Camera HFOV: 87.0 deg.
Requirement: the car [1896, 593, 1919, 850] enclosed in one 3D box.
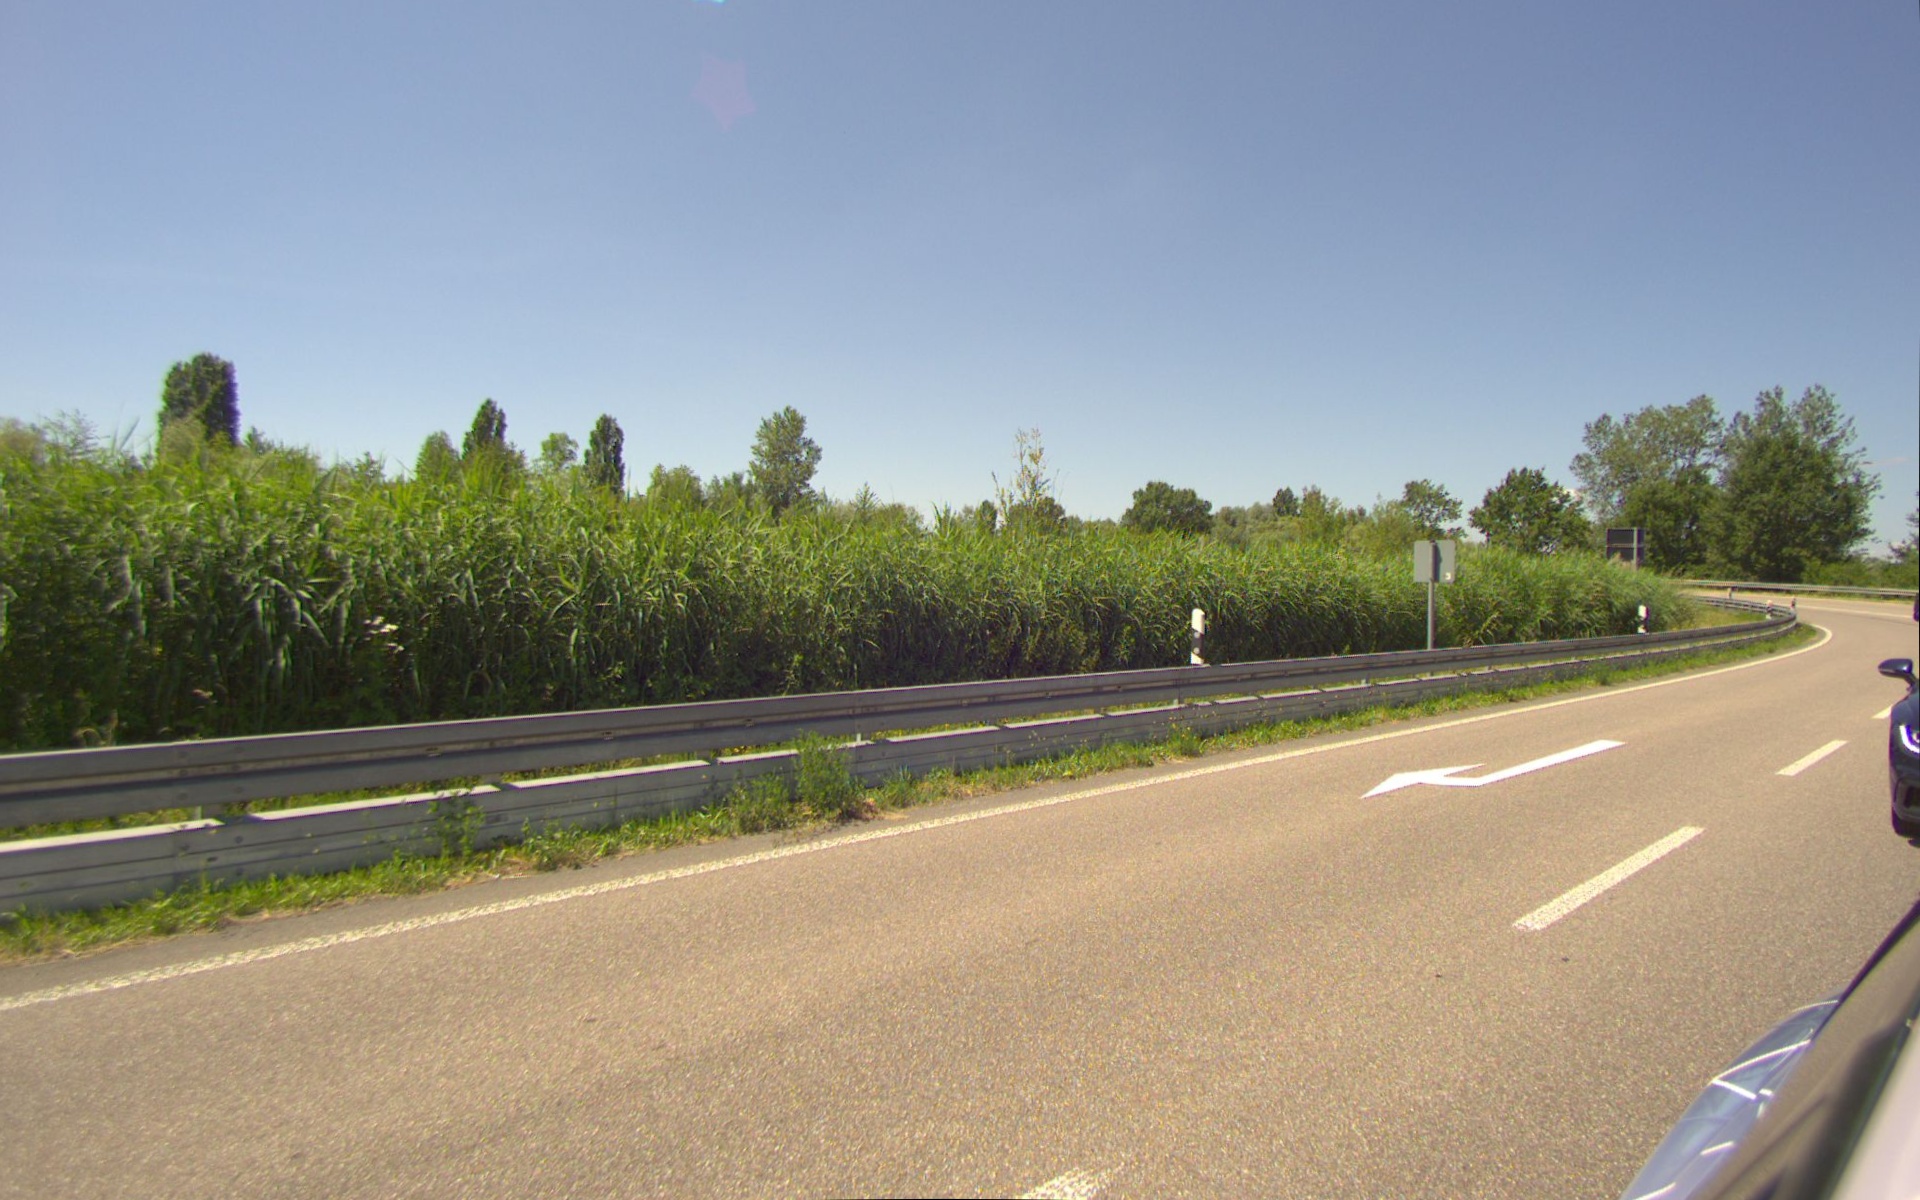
[{"bbox_3d":[7.326,0.658,6.326,3.930,1.427,1.759,-1,1,-41],"label":"car"}]
